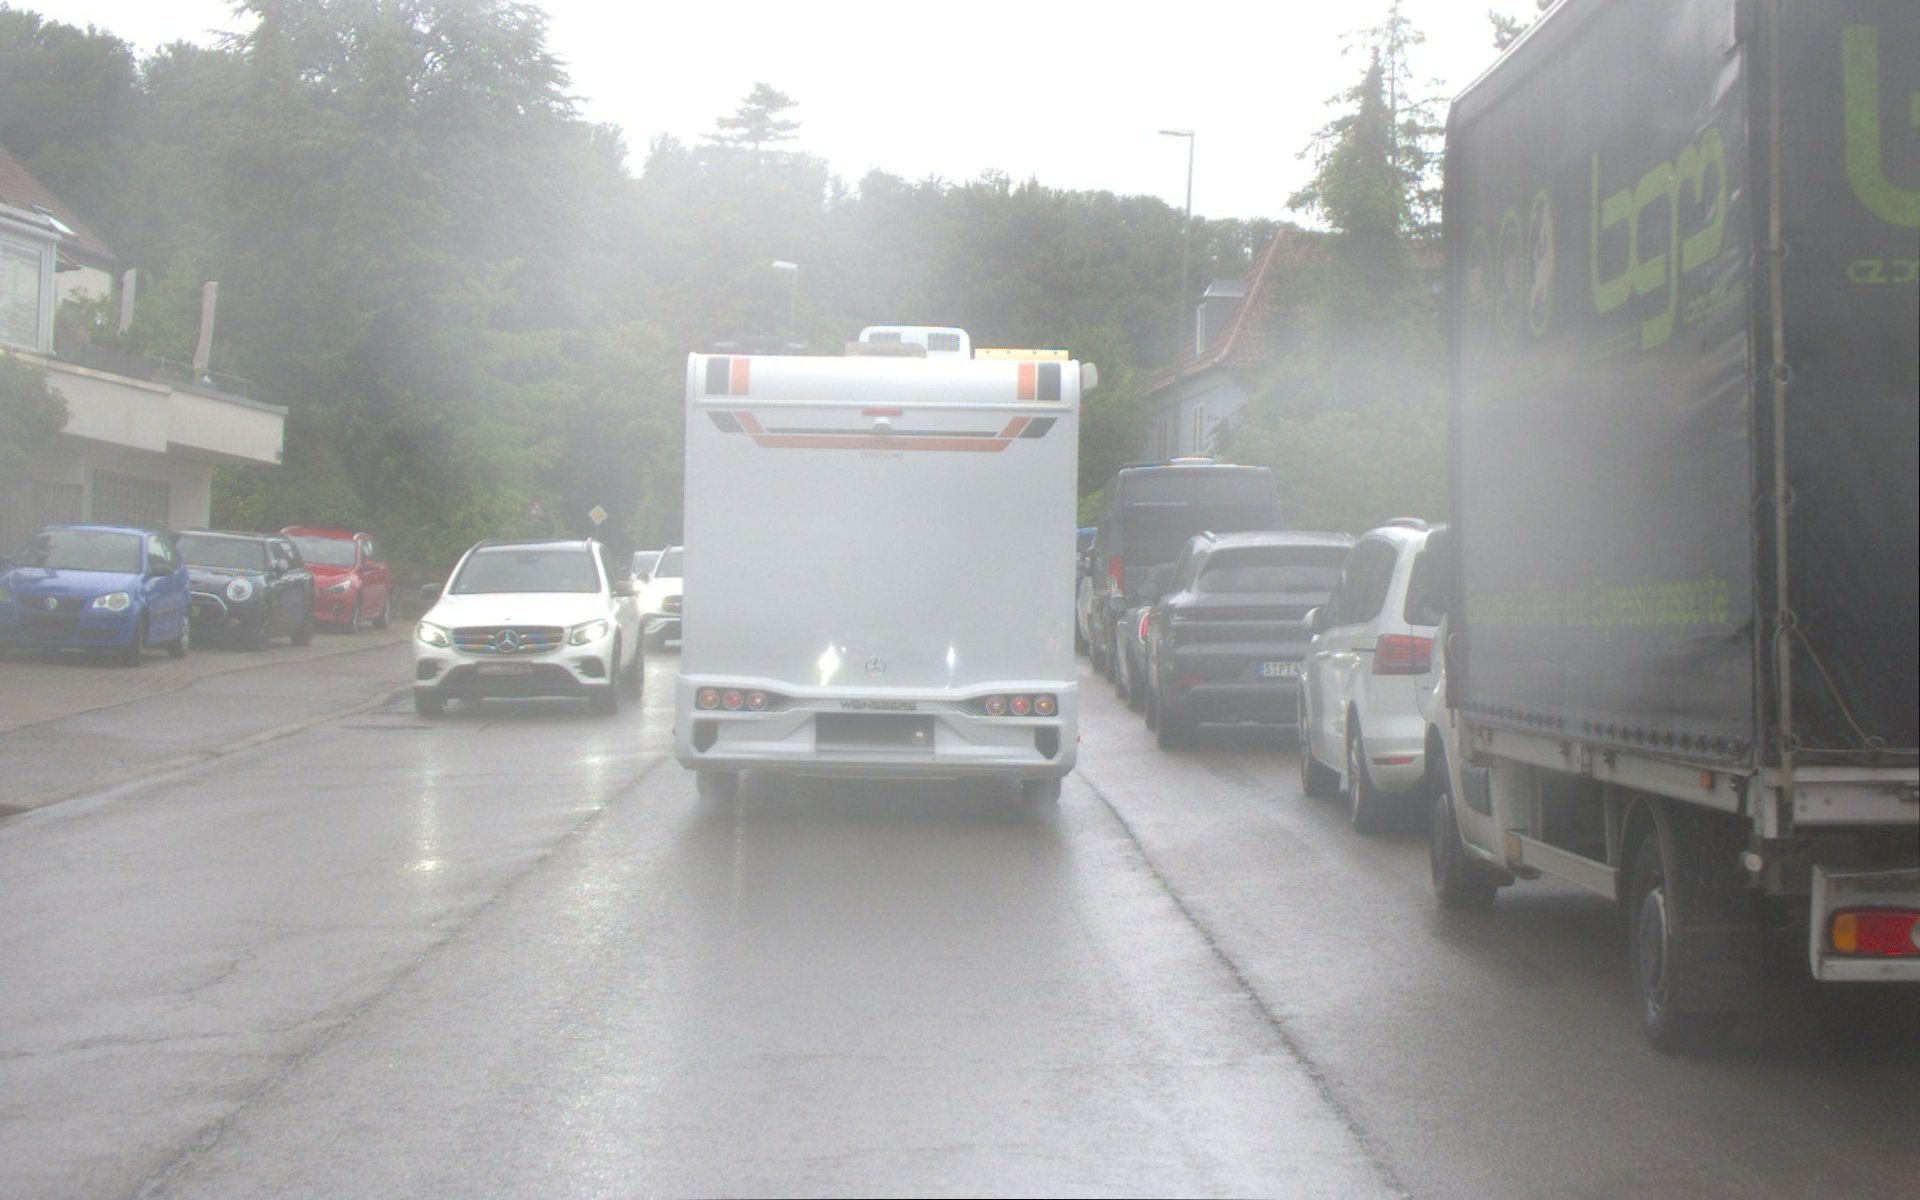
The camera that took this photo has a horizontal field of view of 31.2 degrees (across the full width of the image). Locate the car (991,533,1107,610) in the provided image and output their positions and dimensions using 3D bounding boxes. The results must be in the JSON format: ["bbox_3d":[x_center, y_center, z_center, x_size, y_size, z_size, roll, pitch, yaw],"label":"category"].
[{"bbox_3d":[1.764,-0.593,69.448,1.685,1.452,4.058,2,1,-8],"label":"car"}]

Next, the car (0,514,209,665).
[{"bbox_3d":[-9.408,-0.155,37.401,1.607,1.429,3.959,4,1,-2],"label":"car"}]

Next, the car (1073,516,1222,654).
[{"bbox_3d":[2.605,-0.242,48.693,1.827,1.836,5.270,0,1,0],"label":"car"}]

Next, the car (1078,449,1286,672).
[{"bbox_3d":[2.591,-0.483,41.495,2.031,2.497,5.956,0,1,-1],"label":"car"}]

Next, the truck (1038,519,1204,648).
[{"bbox_3d":[2.496,-0.302,55.053,2.113,1.845,6.619,3,1,-1],"label":"truck"}]

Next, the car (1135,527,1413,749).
[{"bbox_3d":[2.475,0.248,28.131,1.936,1.666,4.694,0,1,1],"label":"car"}]

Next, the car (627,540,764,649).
[{"bbox_3d":[-4.068,-0.120,53.434,1.798,1.562,4.384,2,1,-1],"label":"car"}]

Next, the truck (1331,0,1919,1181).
[{"bbox_3d":[3.010,-0.310,12.194,2.436,3.324,7.965,0,0,-1],"label":"truck"}]

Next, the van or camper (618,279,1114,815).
[{"bbox_3d":[-0.517,-0.255,21.843,2.616,2.843,6.031,2,-1,0],"label":"van or camper"}]

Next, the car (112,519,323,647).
[{"bbox_3d":[-9.208,-0.239,42.931,1.633,1.391,4.239,5,1,0],"label":"car"}]

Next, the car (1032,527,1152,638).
[{"bbox_3d":[2.405,-0.357,63.749,1.860,1.914,5.080,2,1,-1],"label":"car"}]

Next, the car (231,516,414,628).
[{"bbox_3d":[-9.449,-0.431,51.268,1.774,1.432,4.588,6,1,0],"label":"car"}]

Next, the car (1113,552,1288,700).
[{"bbox_3d":[2.400,0.225,34.992,1.589,1.424,3.797,0,1,1],"label":"car"}]

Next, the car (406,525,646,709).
[{"bbox_3d":[-4.106,0.114,33.130,1.906,1.602,4.429,2,1,-3],"label":"car"}]

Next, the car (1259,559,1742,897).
[{"bbox_3d":[2.931,0.613,19.906,1.846,1.678,5.639,0,0,-1],"label":"car"}]
